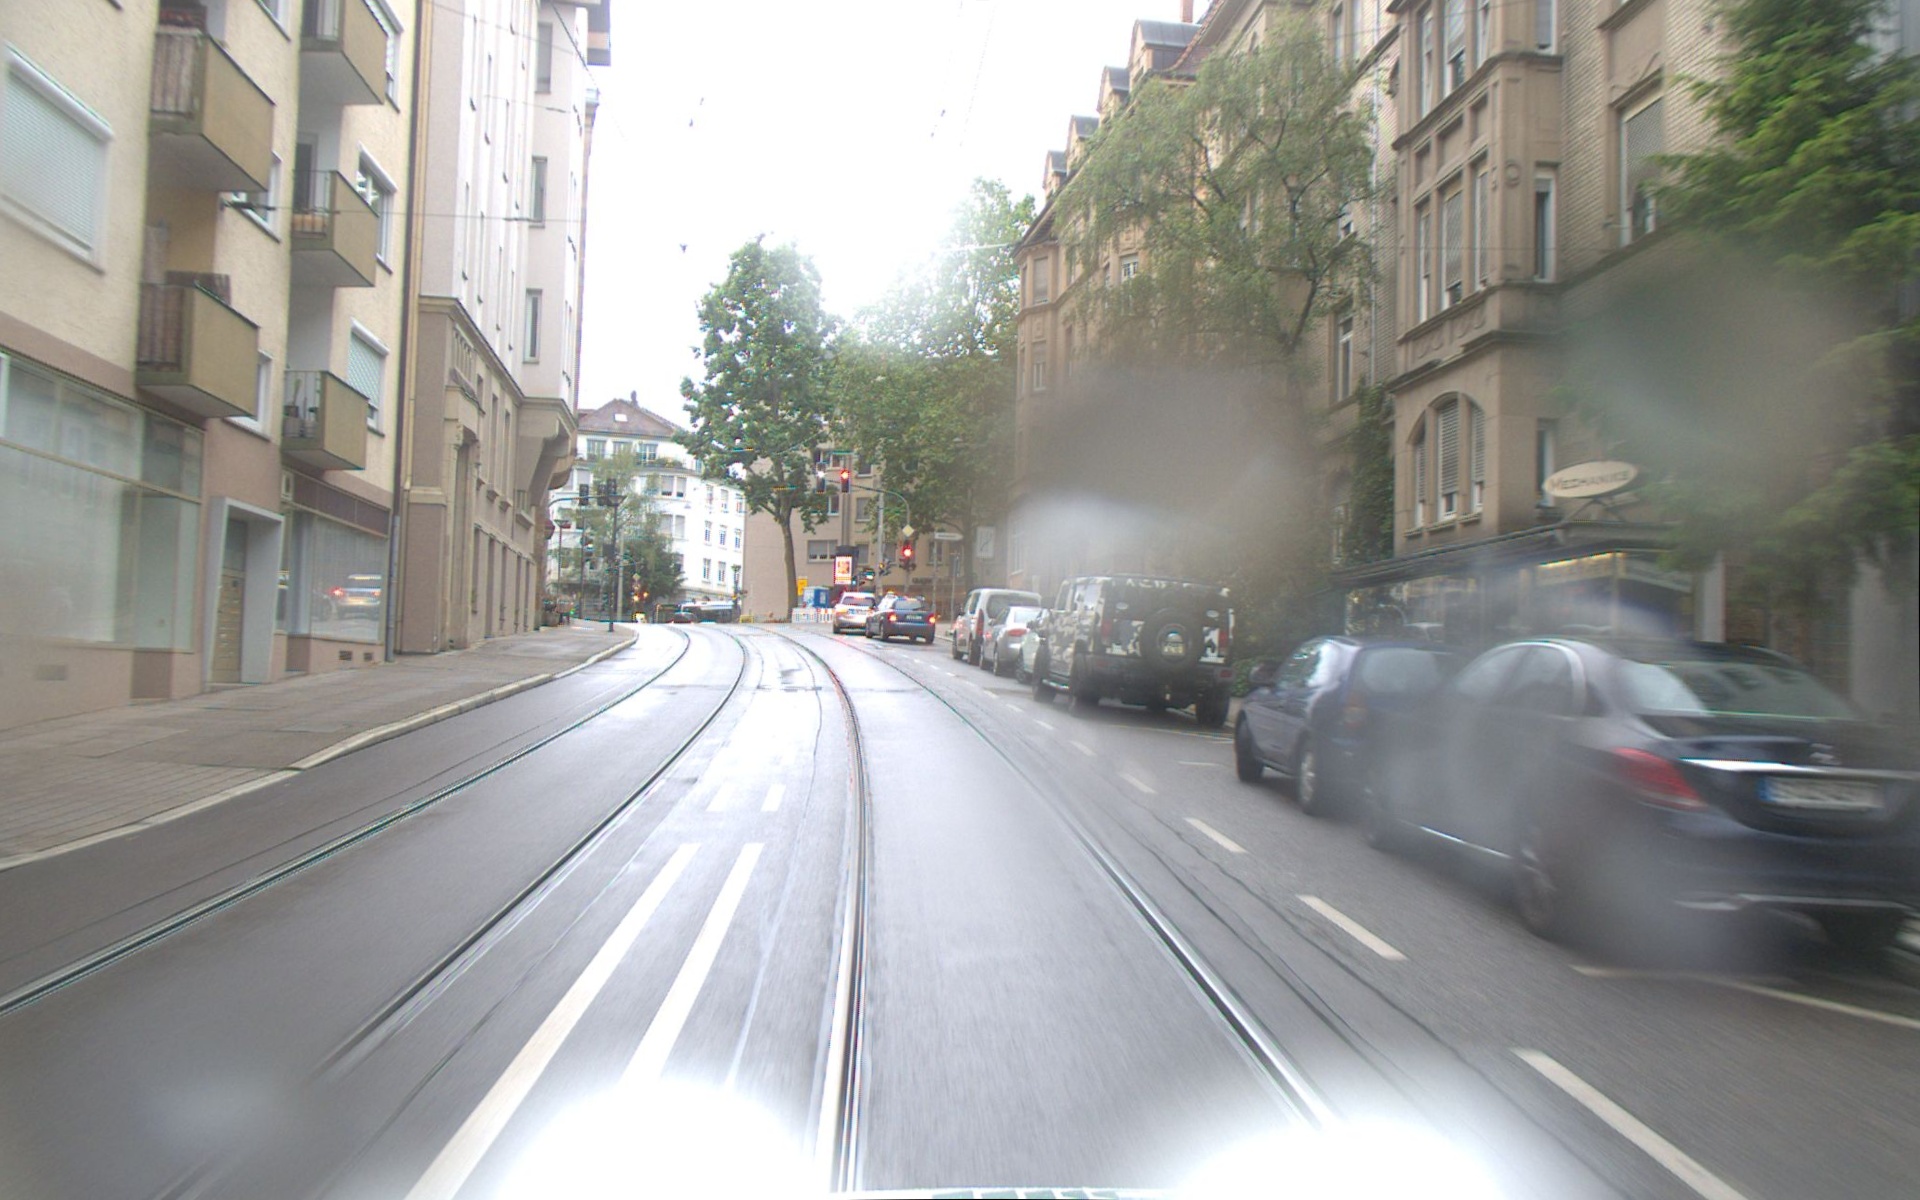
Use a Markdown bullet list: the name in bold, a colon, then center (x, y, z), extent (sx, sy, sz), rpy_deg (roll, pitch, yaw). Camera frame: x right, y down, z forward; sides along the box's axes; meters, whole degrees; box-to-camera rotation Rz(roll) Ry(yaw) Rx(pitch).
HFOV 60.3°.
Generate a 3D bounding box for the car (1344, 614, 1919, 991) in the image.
- **car**: center (3.660, 0.882, 9.213), extent (1.758, 1.462, 4.609), rpy_deg (3, 0, -2)

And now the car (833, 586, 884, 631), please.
- **car**: center (-3.690, 0.287, 59.803), extent (1.677, 1.481, 3.549), rpy_deg (3, 0, -5)

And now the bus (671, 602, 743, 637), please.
- **bus**: center (-22.009, 1.664, 144.496), extent (2.794, 2.911, 8.739), rpy_deg (1, 0, 16)

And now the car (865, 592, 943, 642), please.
- **car**: center (-1.854, 0.528, 53.944), extent (1.682, 1.440, 4.021), rpy_deg (3, 0, -14)

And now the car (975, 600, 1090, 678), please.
- **car**: center (1.461, 0.773, 34.939), extent (1.715, 1.425, 4.472), rpy_deg (4, 0, -6)

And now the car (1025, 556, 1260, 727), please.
- **car**: center (2.446, 0.516, 23.824), extent (2.089, 2.048, 5.342), rpy_deg (4, 0, -7)

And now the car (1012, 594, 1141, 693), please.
- **car**: center (2.038, 0.732, 29.803), extent (1.531, 1.573, 3.578), rpy_deg (4, 0, -8)

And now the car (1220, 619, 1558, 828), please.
- **car**: center (3.389, 0.908, 13.802), extent (1.645, 1.361, 3.881), rpy_deg (3, 0, -2)

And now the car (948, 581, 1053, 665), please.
- **car**: center (0.912, 0.508, 39.997), extent (1.764, 1.795, 4.455), rpy_deg (4, 0, -8)
